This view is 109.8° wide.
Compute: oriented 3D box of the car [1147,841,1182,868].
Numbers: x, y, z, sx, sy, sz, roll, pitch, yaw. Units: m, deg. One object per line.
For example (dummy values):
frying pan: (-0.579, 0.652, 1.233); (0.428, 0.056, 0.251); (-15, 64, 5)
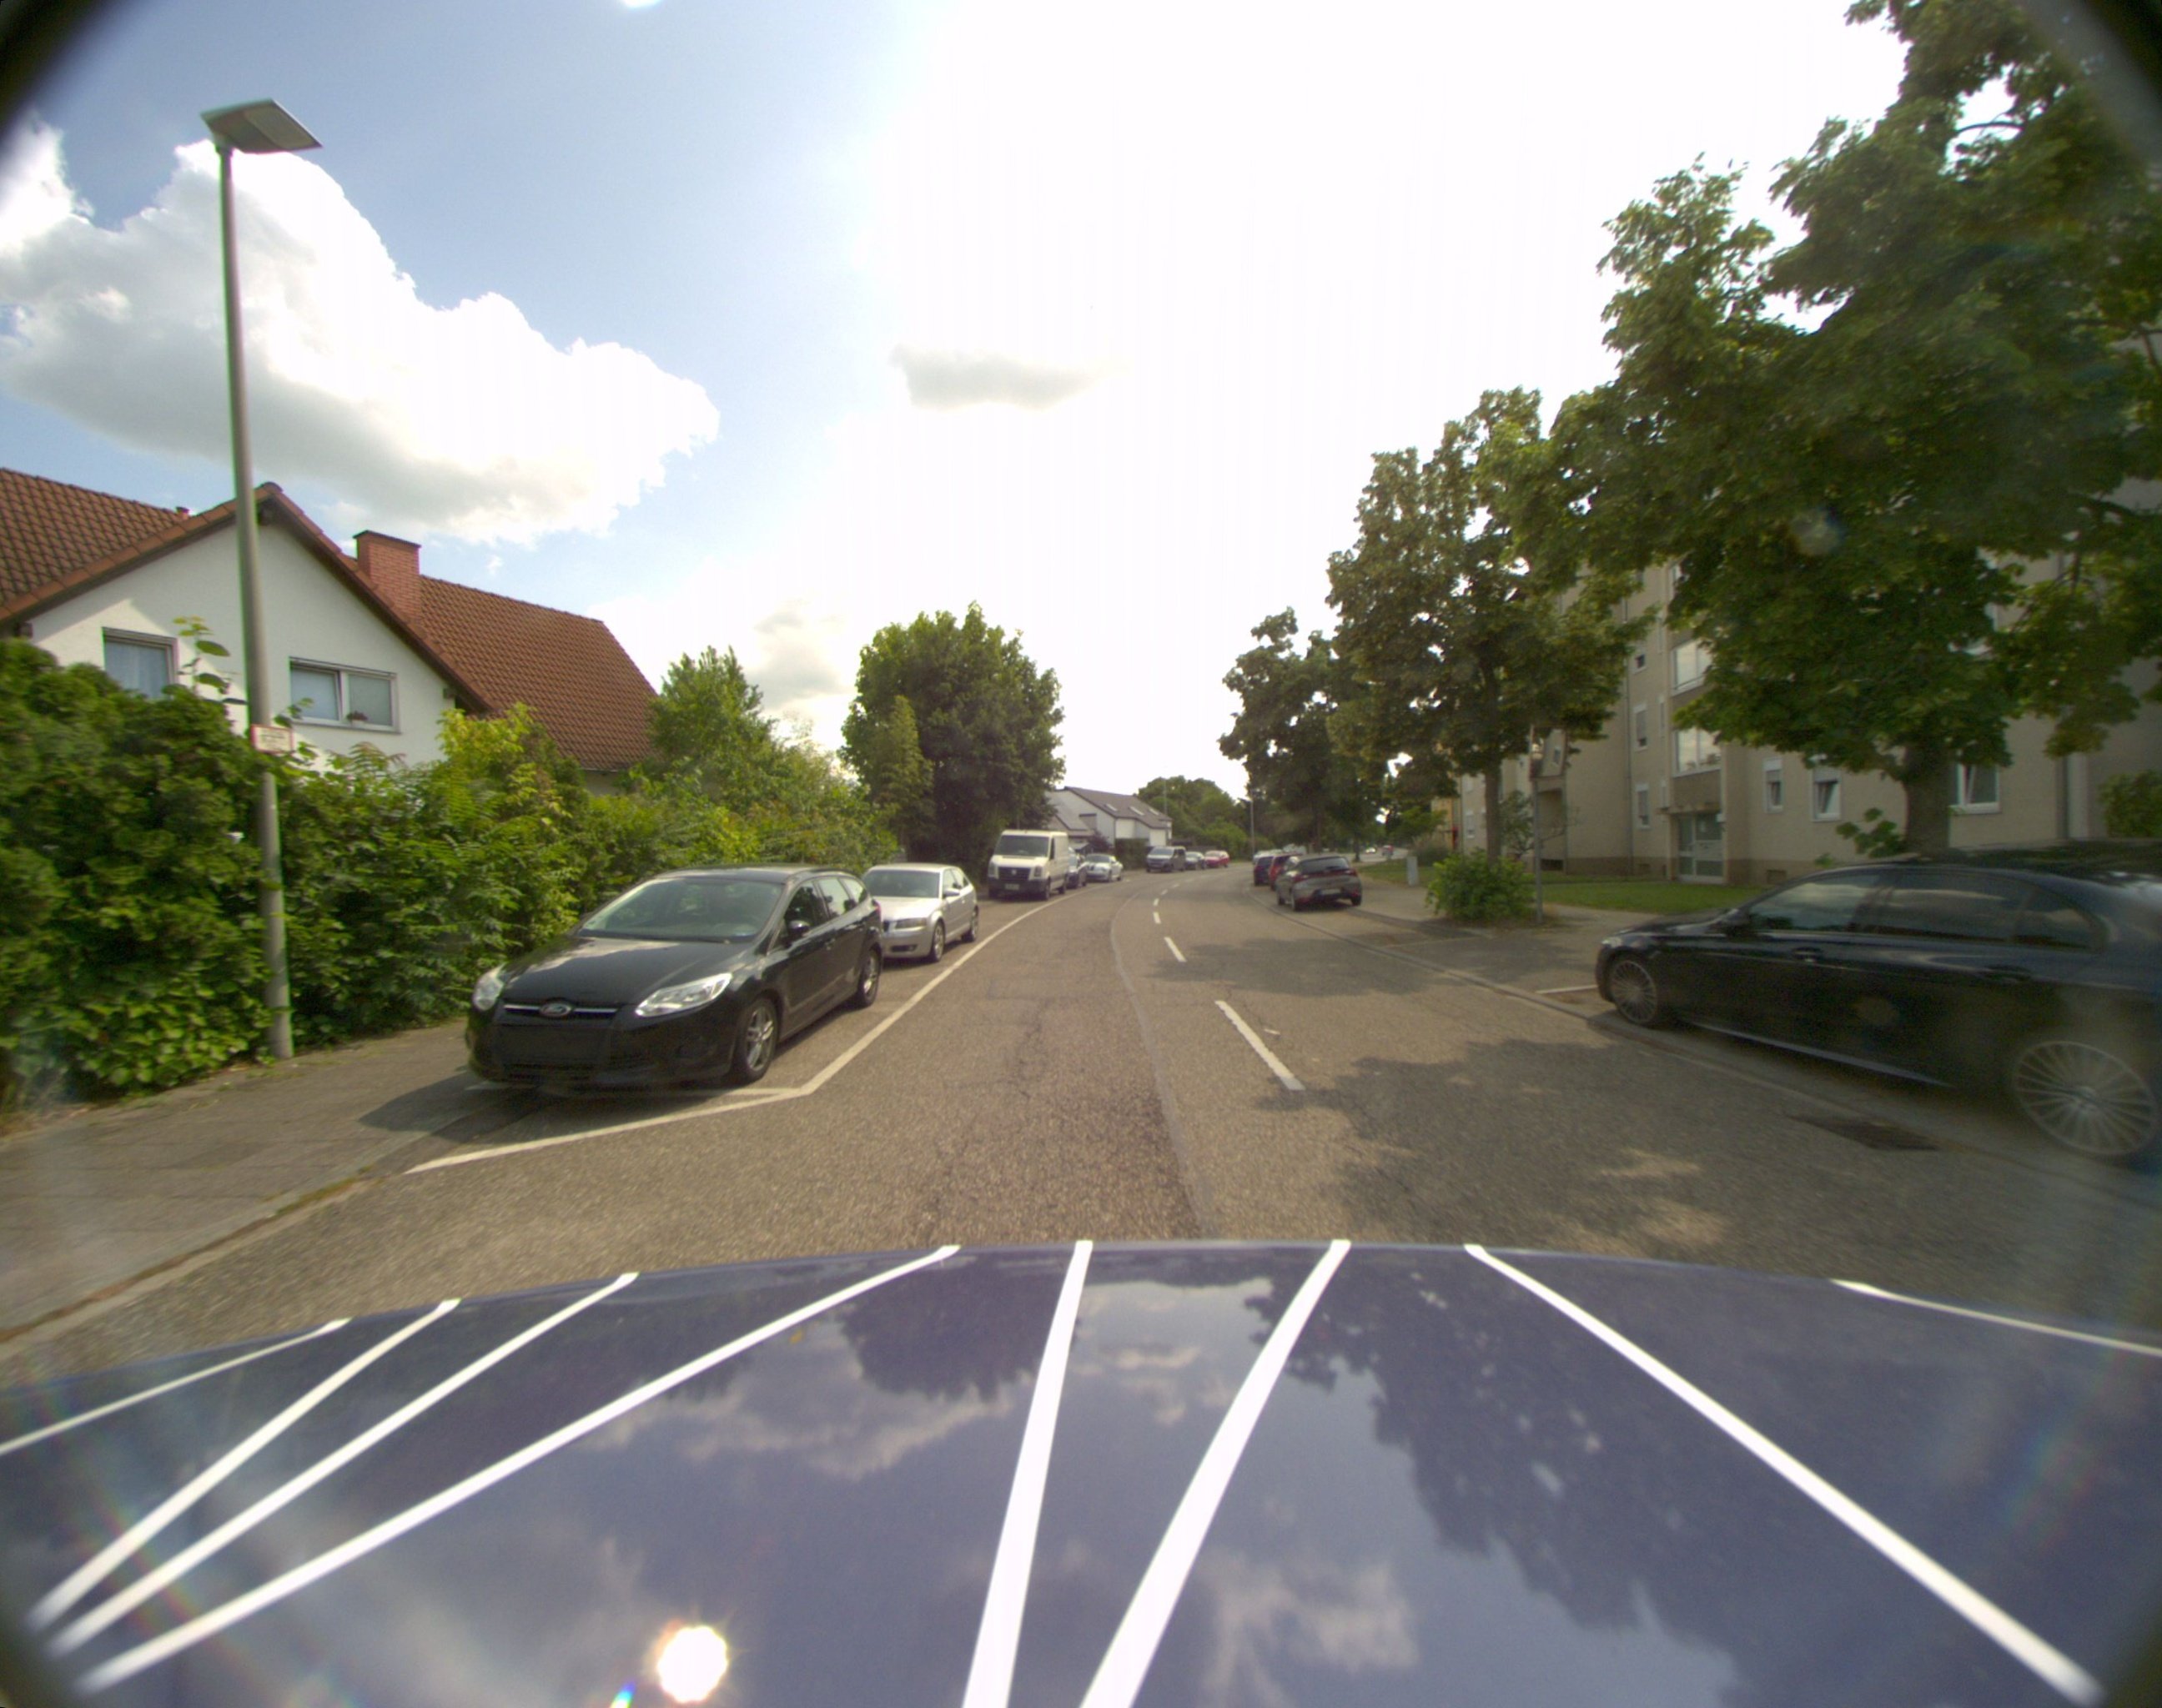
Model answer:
car: (6.171, 0.029, 55.826); (1.838, 1.855, 4.286); (1, 1, 16)

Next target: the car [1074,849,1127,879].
car: (1.078, 0.485, 40.251); (1.817, 1.514, 4.269); (-1, 0, 15)

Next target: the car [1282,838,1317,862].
car: (16.448, -0.346, 57.168); (1.819, 1.714, 3.688); (-2, 0, 27)

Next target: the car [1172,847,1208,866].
car: (8.909, 0.183, 61.841); (1.841, 1.410, 3.895); (-2, 0, 24)

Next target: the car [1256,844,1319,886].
car: (8.532, 0.447, 31.711); (1.758, 1.479, 3.683); (-6, -1, 5)

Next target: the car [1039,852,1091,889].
car: (-0.644, 0.685, 33.635); (1.683, 1.514, 4.064); (-1, 0, 8)

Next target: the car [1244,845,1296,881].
car: (9.069, 0.426, 36.801); (1.758, 1.479, 3.683); (-6, -1, 5)

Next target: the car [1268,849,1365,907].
car: (6.462, 0.598, 21.288); (1.758, 1.410, 4.001); (-2, 0, 5)

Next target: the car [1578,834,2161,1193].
car: (5.531, 0.685, 4.692); (1.735, 1.468, 4.630); (-5, 0, -1)

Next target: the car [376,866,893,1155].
car: (-3.025, 0.907, 6.378); (1.731, 1.496, 4.296); (1, 0, 1)

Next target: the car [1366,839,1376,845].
car: (67.583, -2.811, 177.037); (1.782, 1.433, 3.973); (-2, 0, 25)

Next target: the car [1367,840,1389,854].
car: (32.329, -0.766, 82.638); (1.782, 1.433, 3.973); (-2, 0, 27)

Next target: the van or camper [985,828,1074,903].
van or camper: (-1.653, 0.358, 26.878); (1.972, 2.345, 5.761); (-1, 0, 8)

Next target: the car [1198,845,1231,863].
car: (11.860, -0.026, 67.453); (1.782, 1.477, 4.288); (2, 1, 25)

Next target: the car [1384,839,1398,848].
car: (51.872, -1.795, 127.282); (1.782, 1.433, 3.973); (-2, 0, 27)

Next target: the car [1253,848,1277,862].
car: (20.222, 0.058, 83.302); (1.783, 1.433, 3.973); (-2, 0, 25)

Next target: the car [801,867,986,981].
car: (-2.770, 0.970, 12.196); (1.684, 1.428, 4.063); (-1, 0, 4)
